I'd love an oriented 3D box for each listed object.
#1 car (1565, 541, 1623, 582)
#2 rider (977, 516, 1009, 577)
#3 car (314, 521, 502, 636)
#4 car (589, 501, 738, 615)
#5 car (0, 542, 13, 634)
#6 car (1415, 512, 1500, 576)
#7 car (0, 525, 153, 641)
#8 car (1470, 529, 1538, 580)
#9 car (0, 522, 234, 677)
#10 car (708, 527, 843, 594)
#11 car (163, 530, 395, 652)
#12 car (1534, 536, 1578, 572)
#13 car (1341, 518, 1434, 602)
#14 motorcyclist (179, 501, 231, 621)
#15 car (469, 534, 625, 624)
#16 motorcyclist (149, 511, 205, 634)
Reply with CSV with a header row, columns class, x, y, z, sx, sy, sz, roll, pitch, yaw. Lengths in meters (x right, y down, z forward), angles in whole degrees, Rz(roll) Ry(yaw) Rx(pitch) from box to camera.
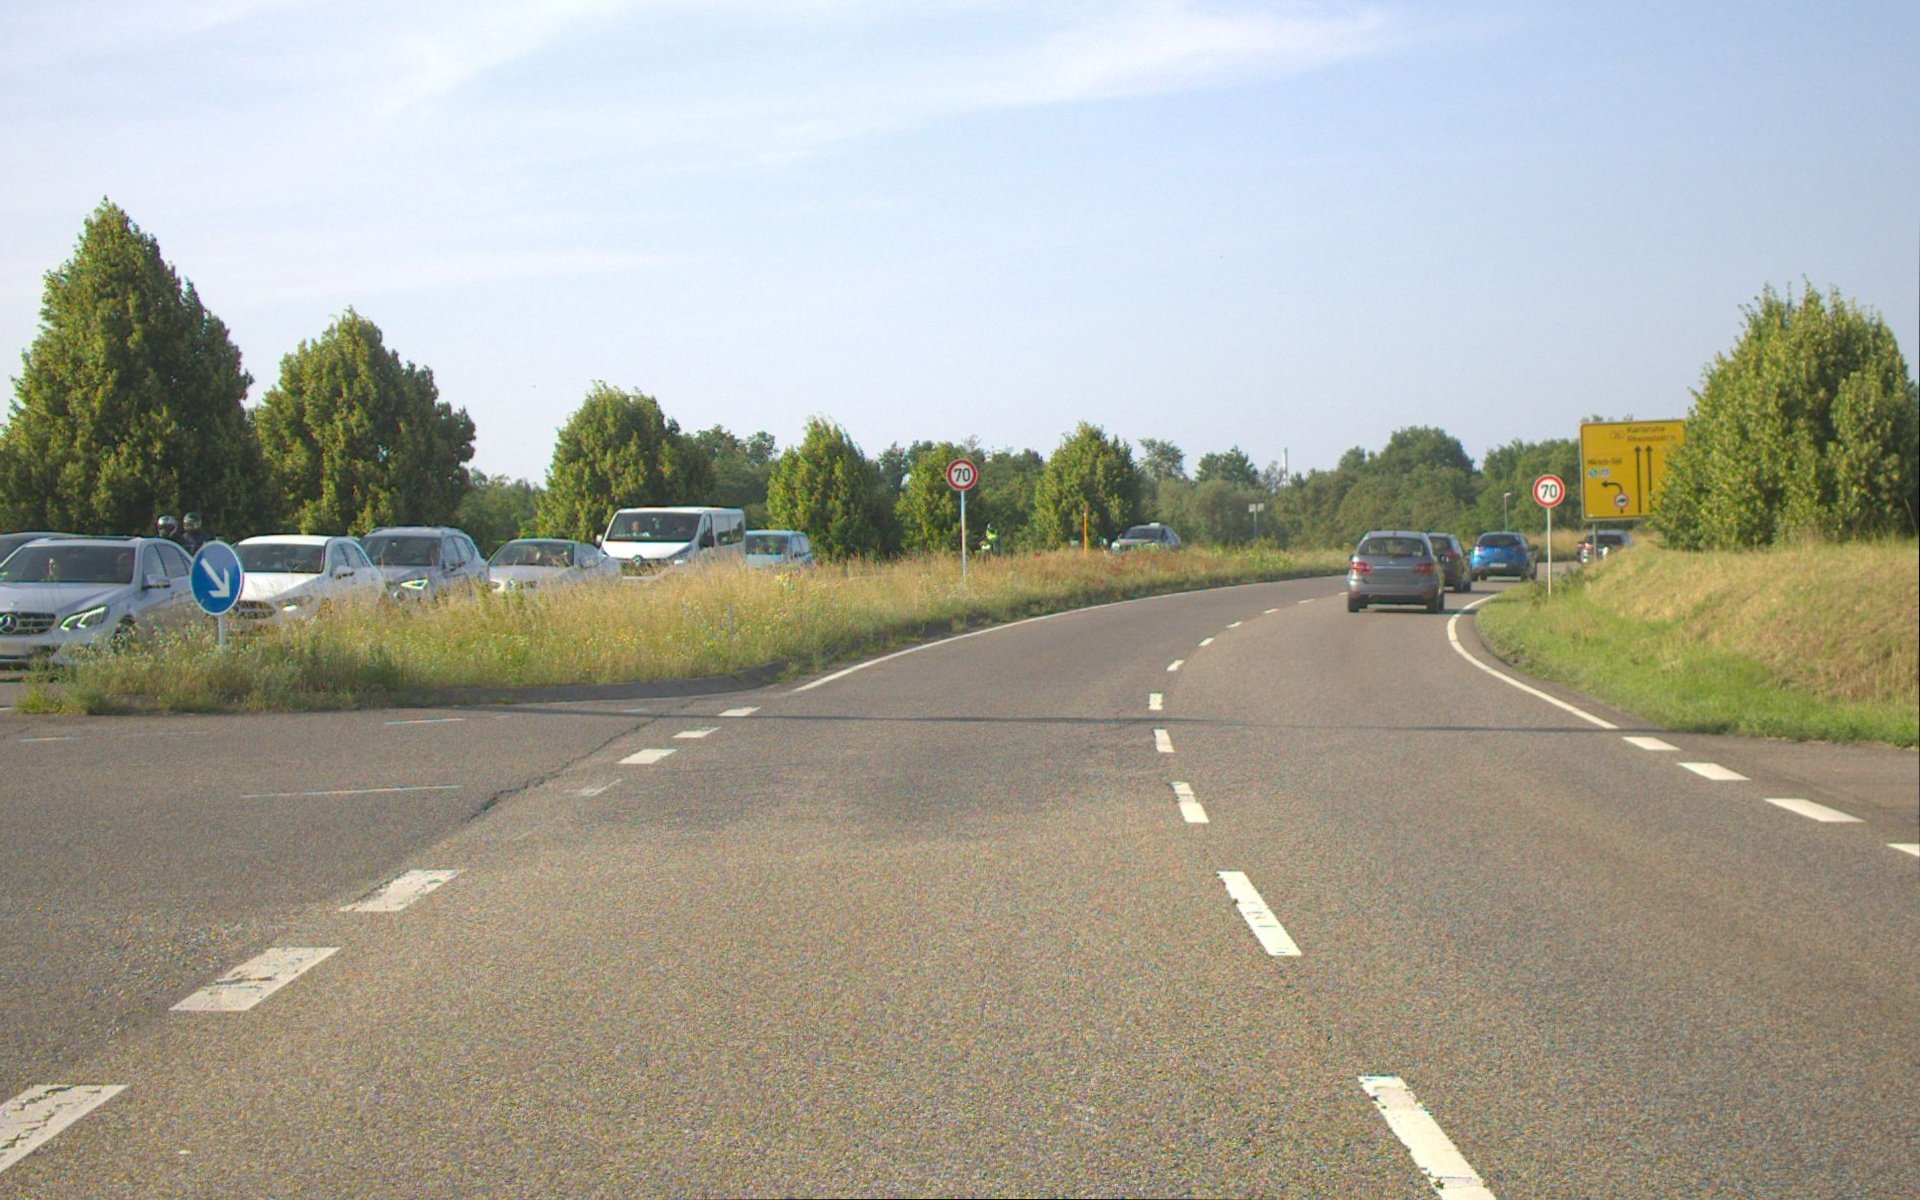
class,x,y,z,sx,sy,sz,roll,pitch,yaw
car,22.948,-1.395,124.334,1.916,1.411,3.793,0,0,13
rider,1.088,-1.764,113.097,0.868,2.007,0.771,0,1,15
car,-7.877,-0.327,49.414,1.786,1.563,4.051,-1,1,4
car,-5.563,-0.804,64.990,1.926,2.071,4.242,-1,1,7
car,-14.946,-0.134,47.713,1.660,1.322,4.211,0,1,13
car,12.613,-1.407,87.018,1.811,1.560,4.528,0,1,12
car,-11.928,-0.240,44.427,1.786,1.428,4.051,-1,1,4
car,16.292,-1.373,102.821,1.774,1.487,3.983,0,1,12
car,-9.020,-0.041,35.456,1.786,1.483,4.651,-1,1,4
car,-3.913,-0.855,73.507,1.787,1.381,4.049,0,1,13
car,-8.489,-0.144,43.213,1.786,1.428,4.308,-1,1,4
car,25.182,-1.947,145.237,1.773,1.487,3.983,0,1,11
car,8.522,-0.764,68.313,1.785,1.600,4.194,0,0,8
motorcyclist,-11.507,-0.591,52.378,0.662,1.810,0.605,-1,1,-3
car,-6.647,-0.360,55.697,1.786,1.381,4.051,-1,1,4
motorcyclist,-11.217,-0.395,49.250,0.662,1.741,0.605,-1,1,-3
